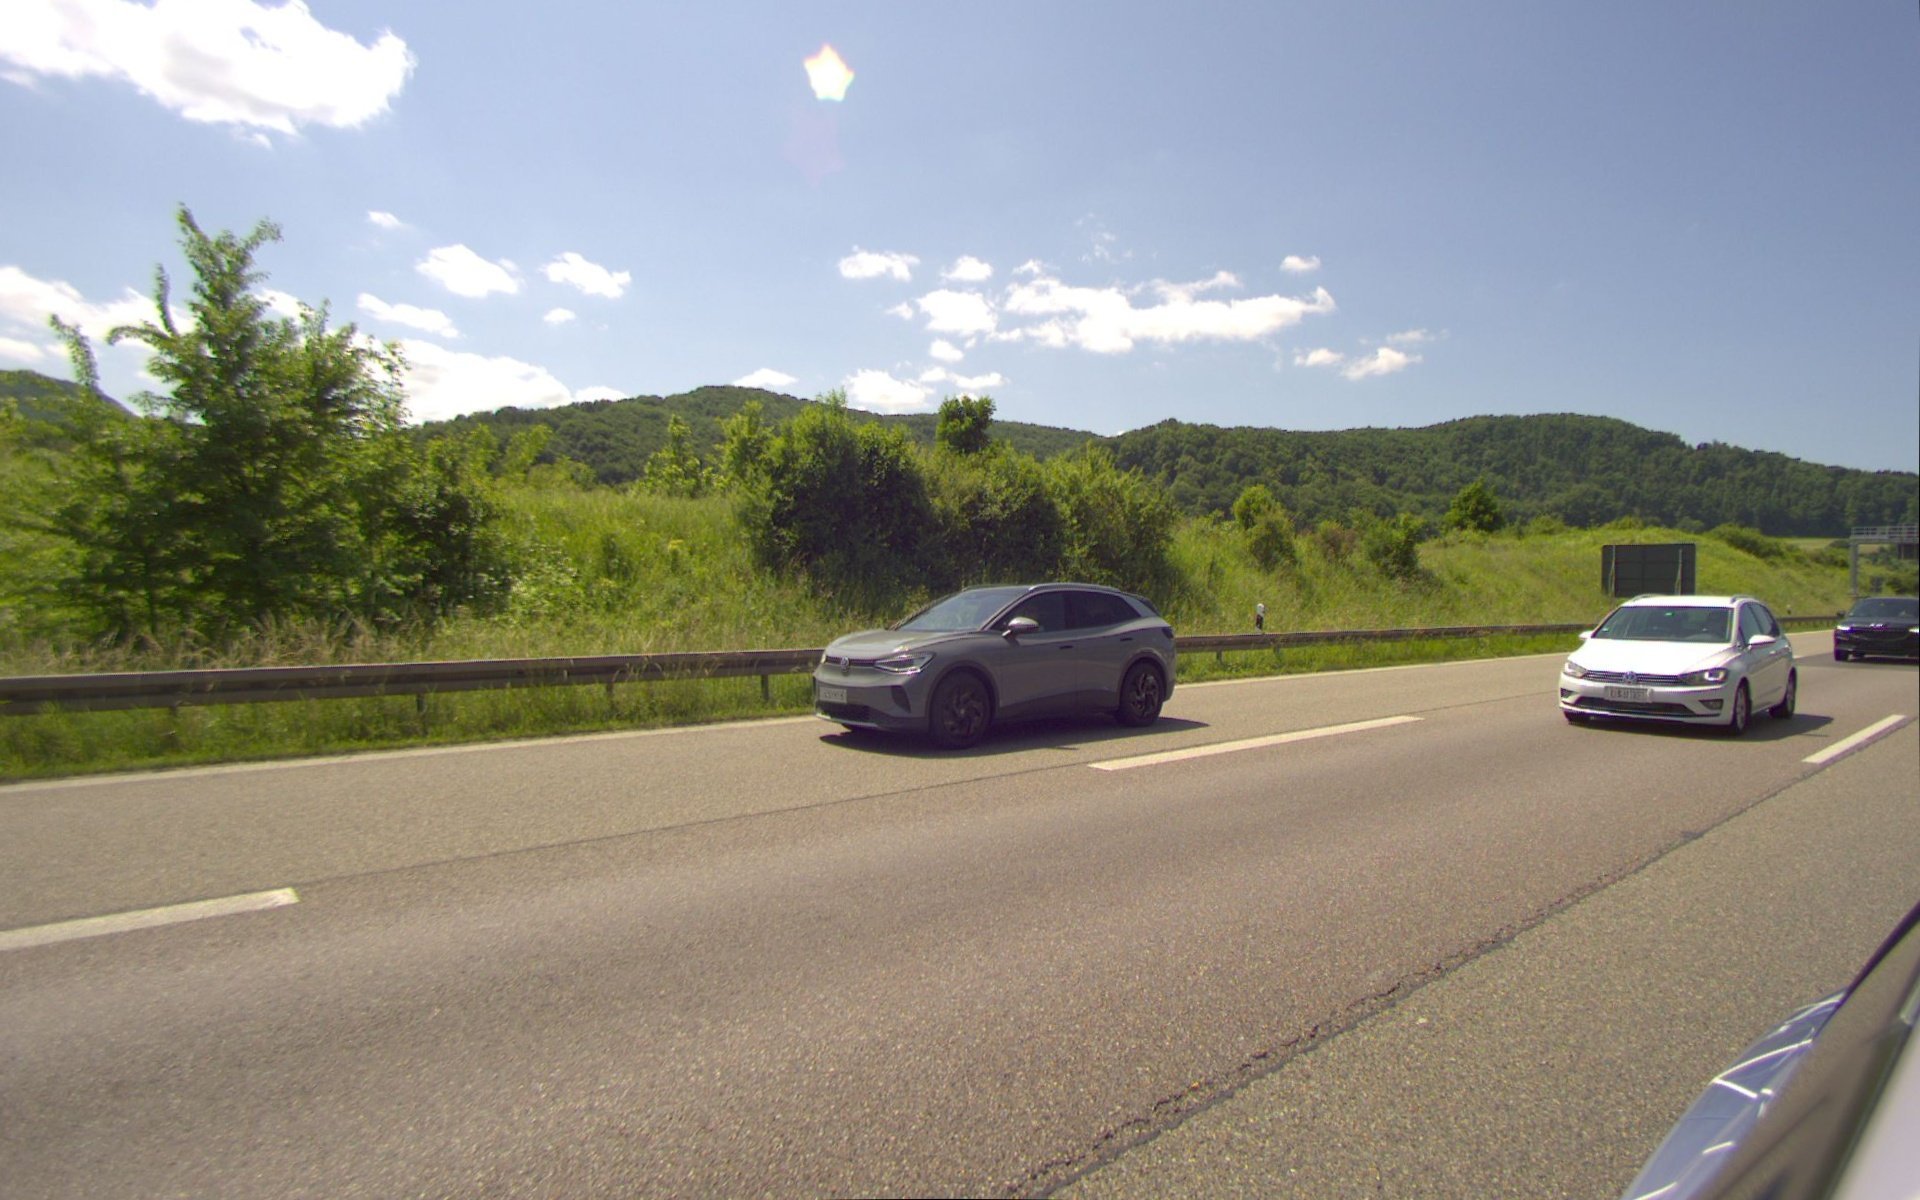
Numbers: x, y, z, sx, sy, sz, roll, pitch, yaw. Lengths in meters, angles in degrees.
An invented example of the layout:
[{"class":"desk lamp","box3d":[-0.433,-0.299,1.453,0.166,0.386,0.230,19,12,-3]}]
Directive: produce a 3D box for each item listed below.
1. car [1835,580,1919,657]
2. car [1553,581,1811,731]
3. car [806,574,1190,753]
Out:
[{"class":"car","box3d":[23.795,0.435,25.541,4.096,1.794,1.893,0,1,-39]},{"class":"car","box3d":[9.024,0.568,12.527,3.984,1.560,1.775,0,0,-42]},{"class":"car","box3d":[0.543,0.555,11.106,4.173,1.615,1.683,0,0,-40]}]
